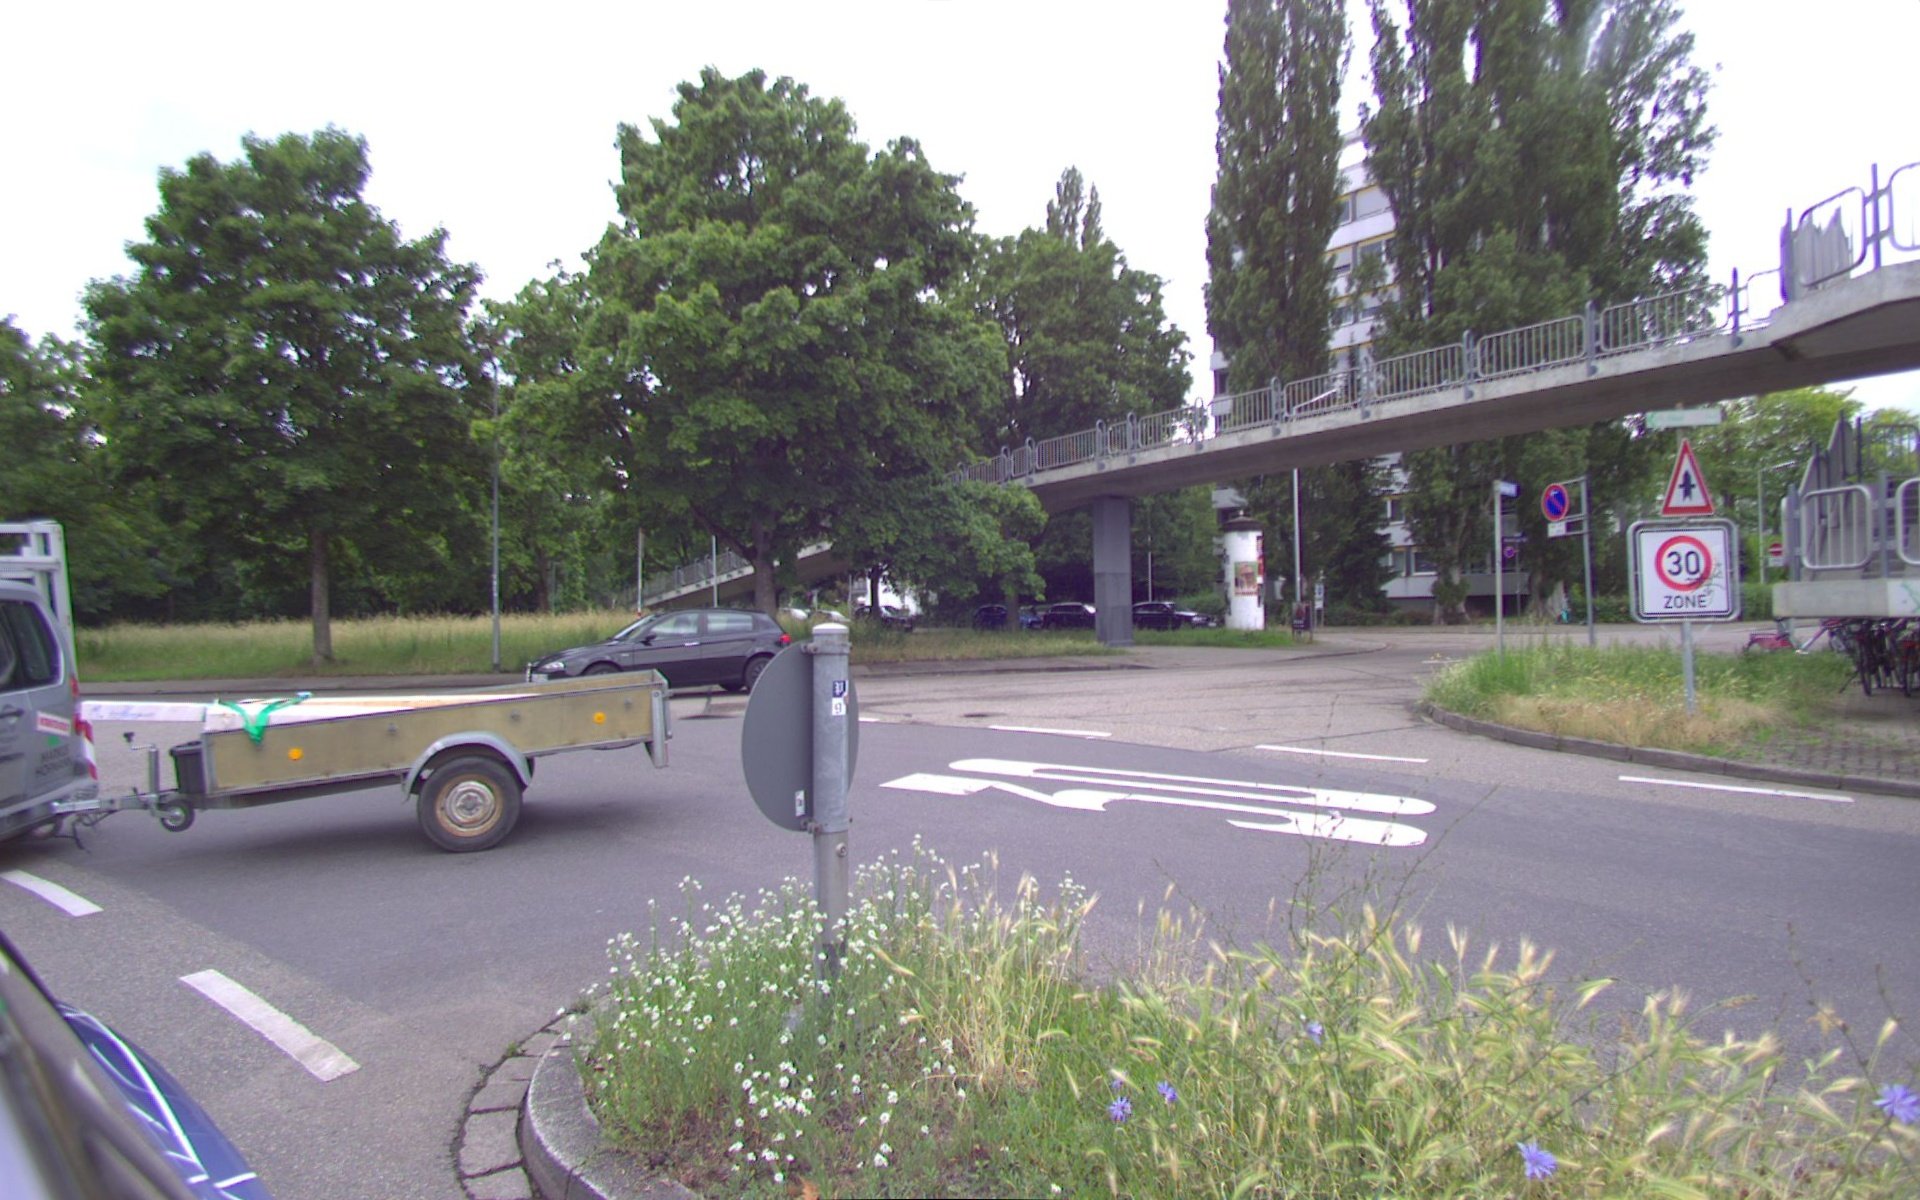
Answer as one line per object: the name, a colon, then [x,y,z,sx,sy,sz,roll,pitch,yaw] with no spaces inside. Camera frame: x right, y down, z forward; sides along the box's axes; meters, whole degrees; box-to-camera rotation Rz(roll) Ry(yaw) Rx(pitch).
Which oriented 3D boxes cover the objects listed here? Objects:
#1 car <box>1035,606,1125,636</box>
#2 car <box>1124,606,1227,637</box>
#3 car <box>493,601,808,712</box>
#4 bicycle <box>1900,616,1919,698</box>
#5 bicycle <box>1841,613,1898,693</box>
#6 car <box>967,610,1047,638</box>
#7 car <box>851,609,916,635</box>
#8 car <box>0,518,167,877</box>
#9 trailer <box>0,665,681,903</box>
car: [5.424,0.947,46.178,1.667,1.256,4.007,-1,0,-39]
car: [8.874,0.887,41.946,1.667,1.214,4.007,-1,0,-39]
car: [-4.863,0.810,16.097,4.463,1.468,1.809,-1,0,-31]
bicycle: [11.445,0.646,11.954,1.618,0.892,0.395,-1,-1,-44]
bicycle: [11.152,0.623,12.396,1.618,0.892,0.395,-1,-1,-44]
car: [2.274,1.179,49.891,1.667,1.247,4.007,-1,0,-39]
car: [-4.394,1.250,57.462,1.667,1.361,4.007,-1,0,-39]
car: [-7.198,0.541,5.424,4.150,1.871,2.101,-1,-1,-15]
trailer: [-3.581,1.003,6.342,3.405,0.993,1.577,0,0,-20]
